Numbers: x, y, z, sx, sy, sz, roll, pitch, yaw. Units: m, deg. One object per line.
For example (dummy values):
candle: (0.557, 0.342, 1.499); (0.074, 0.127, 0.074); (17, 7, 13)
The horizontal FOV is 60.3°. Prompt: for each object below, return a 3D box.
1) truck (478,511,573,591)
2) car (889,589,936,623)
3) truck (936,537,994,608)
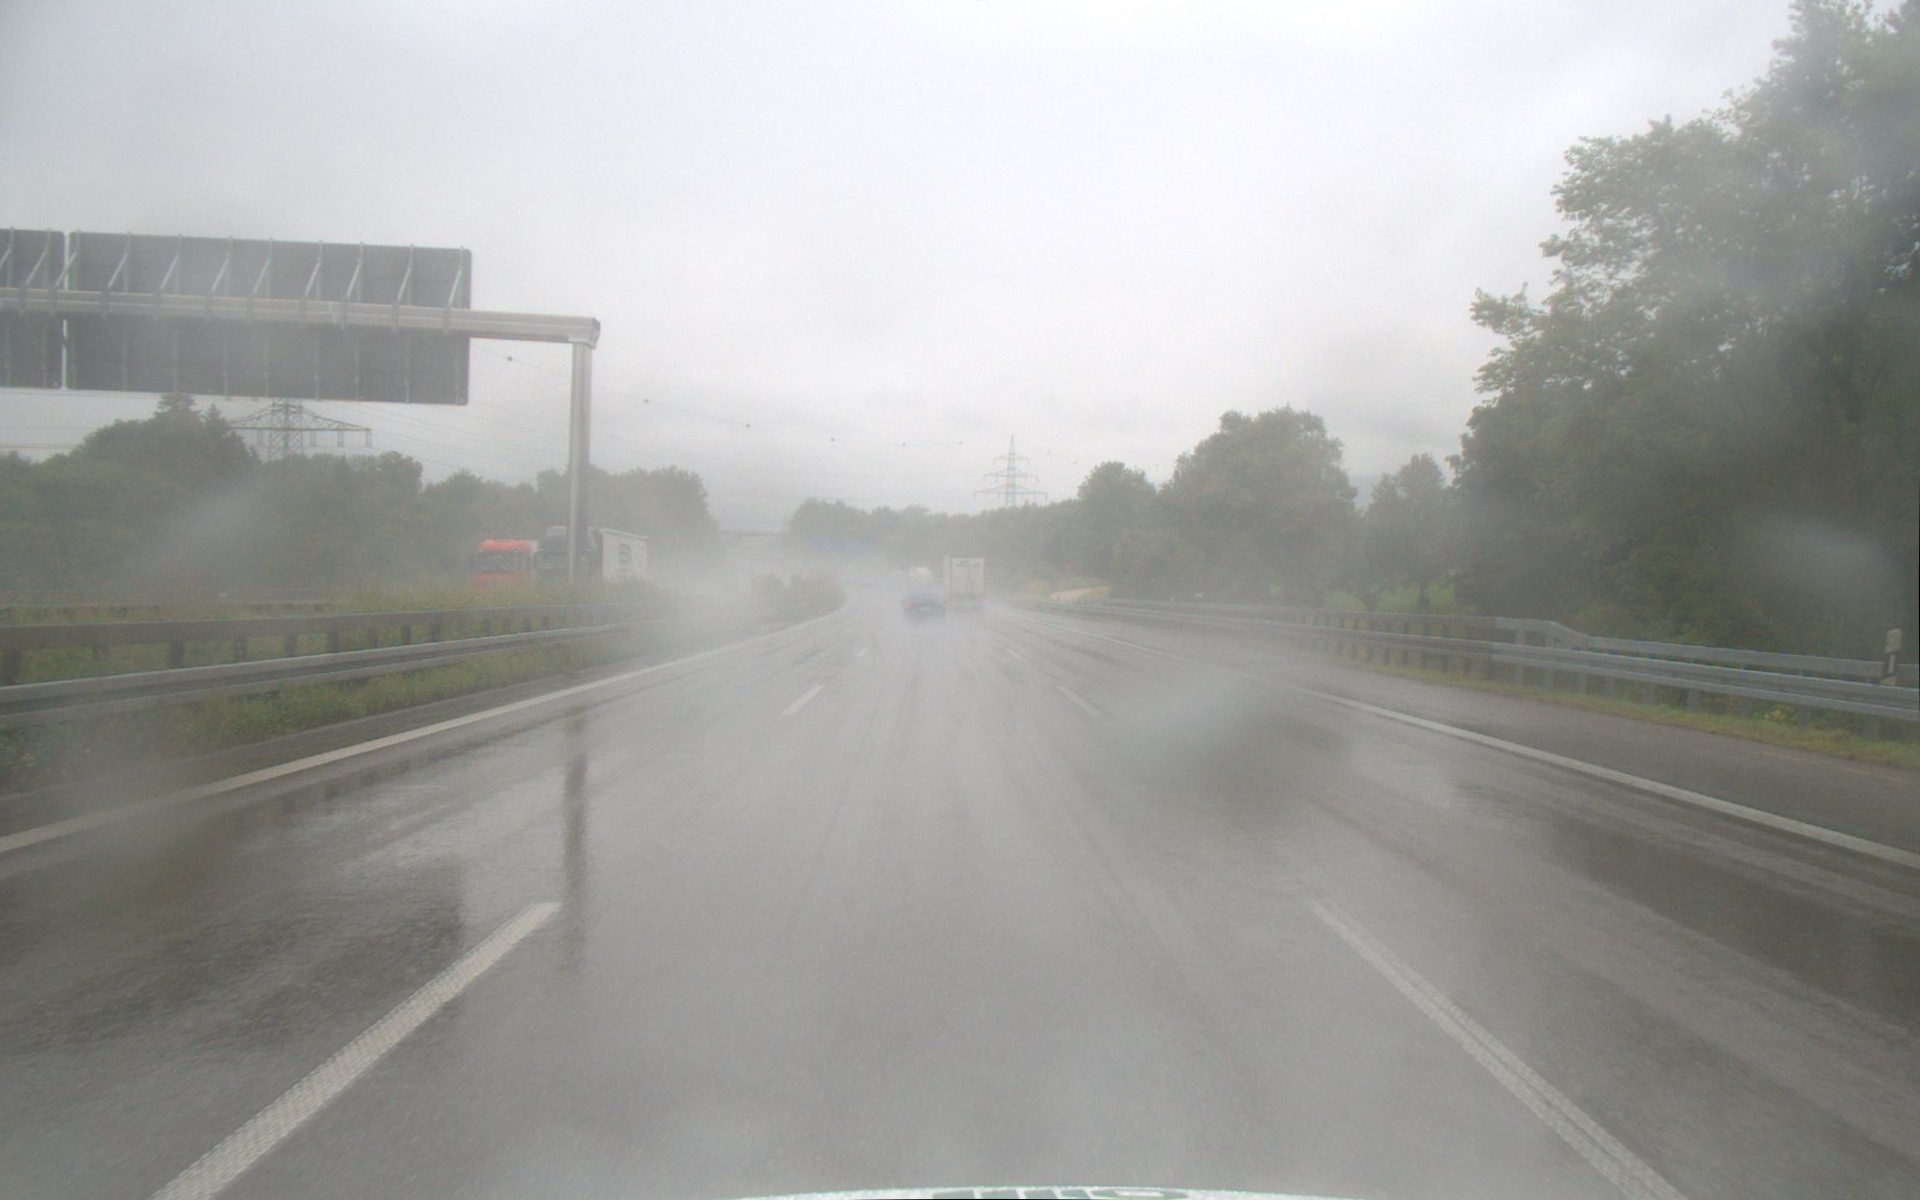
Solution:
truck: (-22.146, -2.454, 84.650); (2.849, 3.784, 6.508); (4, 1, 0)
car: (-1.953, 0.234, 69.407); (1.713, 1.233, 4.001); (3, 1, 1)
truck: (0.432, -2.158, 127.923); (4.169, 5.058, 17.343); (0, 1, 0)
